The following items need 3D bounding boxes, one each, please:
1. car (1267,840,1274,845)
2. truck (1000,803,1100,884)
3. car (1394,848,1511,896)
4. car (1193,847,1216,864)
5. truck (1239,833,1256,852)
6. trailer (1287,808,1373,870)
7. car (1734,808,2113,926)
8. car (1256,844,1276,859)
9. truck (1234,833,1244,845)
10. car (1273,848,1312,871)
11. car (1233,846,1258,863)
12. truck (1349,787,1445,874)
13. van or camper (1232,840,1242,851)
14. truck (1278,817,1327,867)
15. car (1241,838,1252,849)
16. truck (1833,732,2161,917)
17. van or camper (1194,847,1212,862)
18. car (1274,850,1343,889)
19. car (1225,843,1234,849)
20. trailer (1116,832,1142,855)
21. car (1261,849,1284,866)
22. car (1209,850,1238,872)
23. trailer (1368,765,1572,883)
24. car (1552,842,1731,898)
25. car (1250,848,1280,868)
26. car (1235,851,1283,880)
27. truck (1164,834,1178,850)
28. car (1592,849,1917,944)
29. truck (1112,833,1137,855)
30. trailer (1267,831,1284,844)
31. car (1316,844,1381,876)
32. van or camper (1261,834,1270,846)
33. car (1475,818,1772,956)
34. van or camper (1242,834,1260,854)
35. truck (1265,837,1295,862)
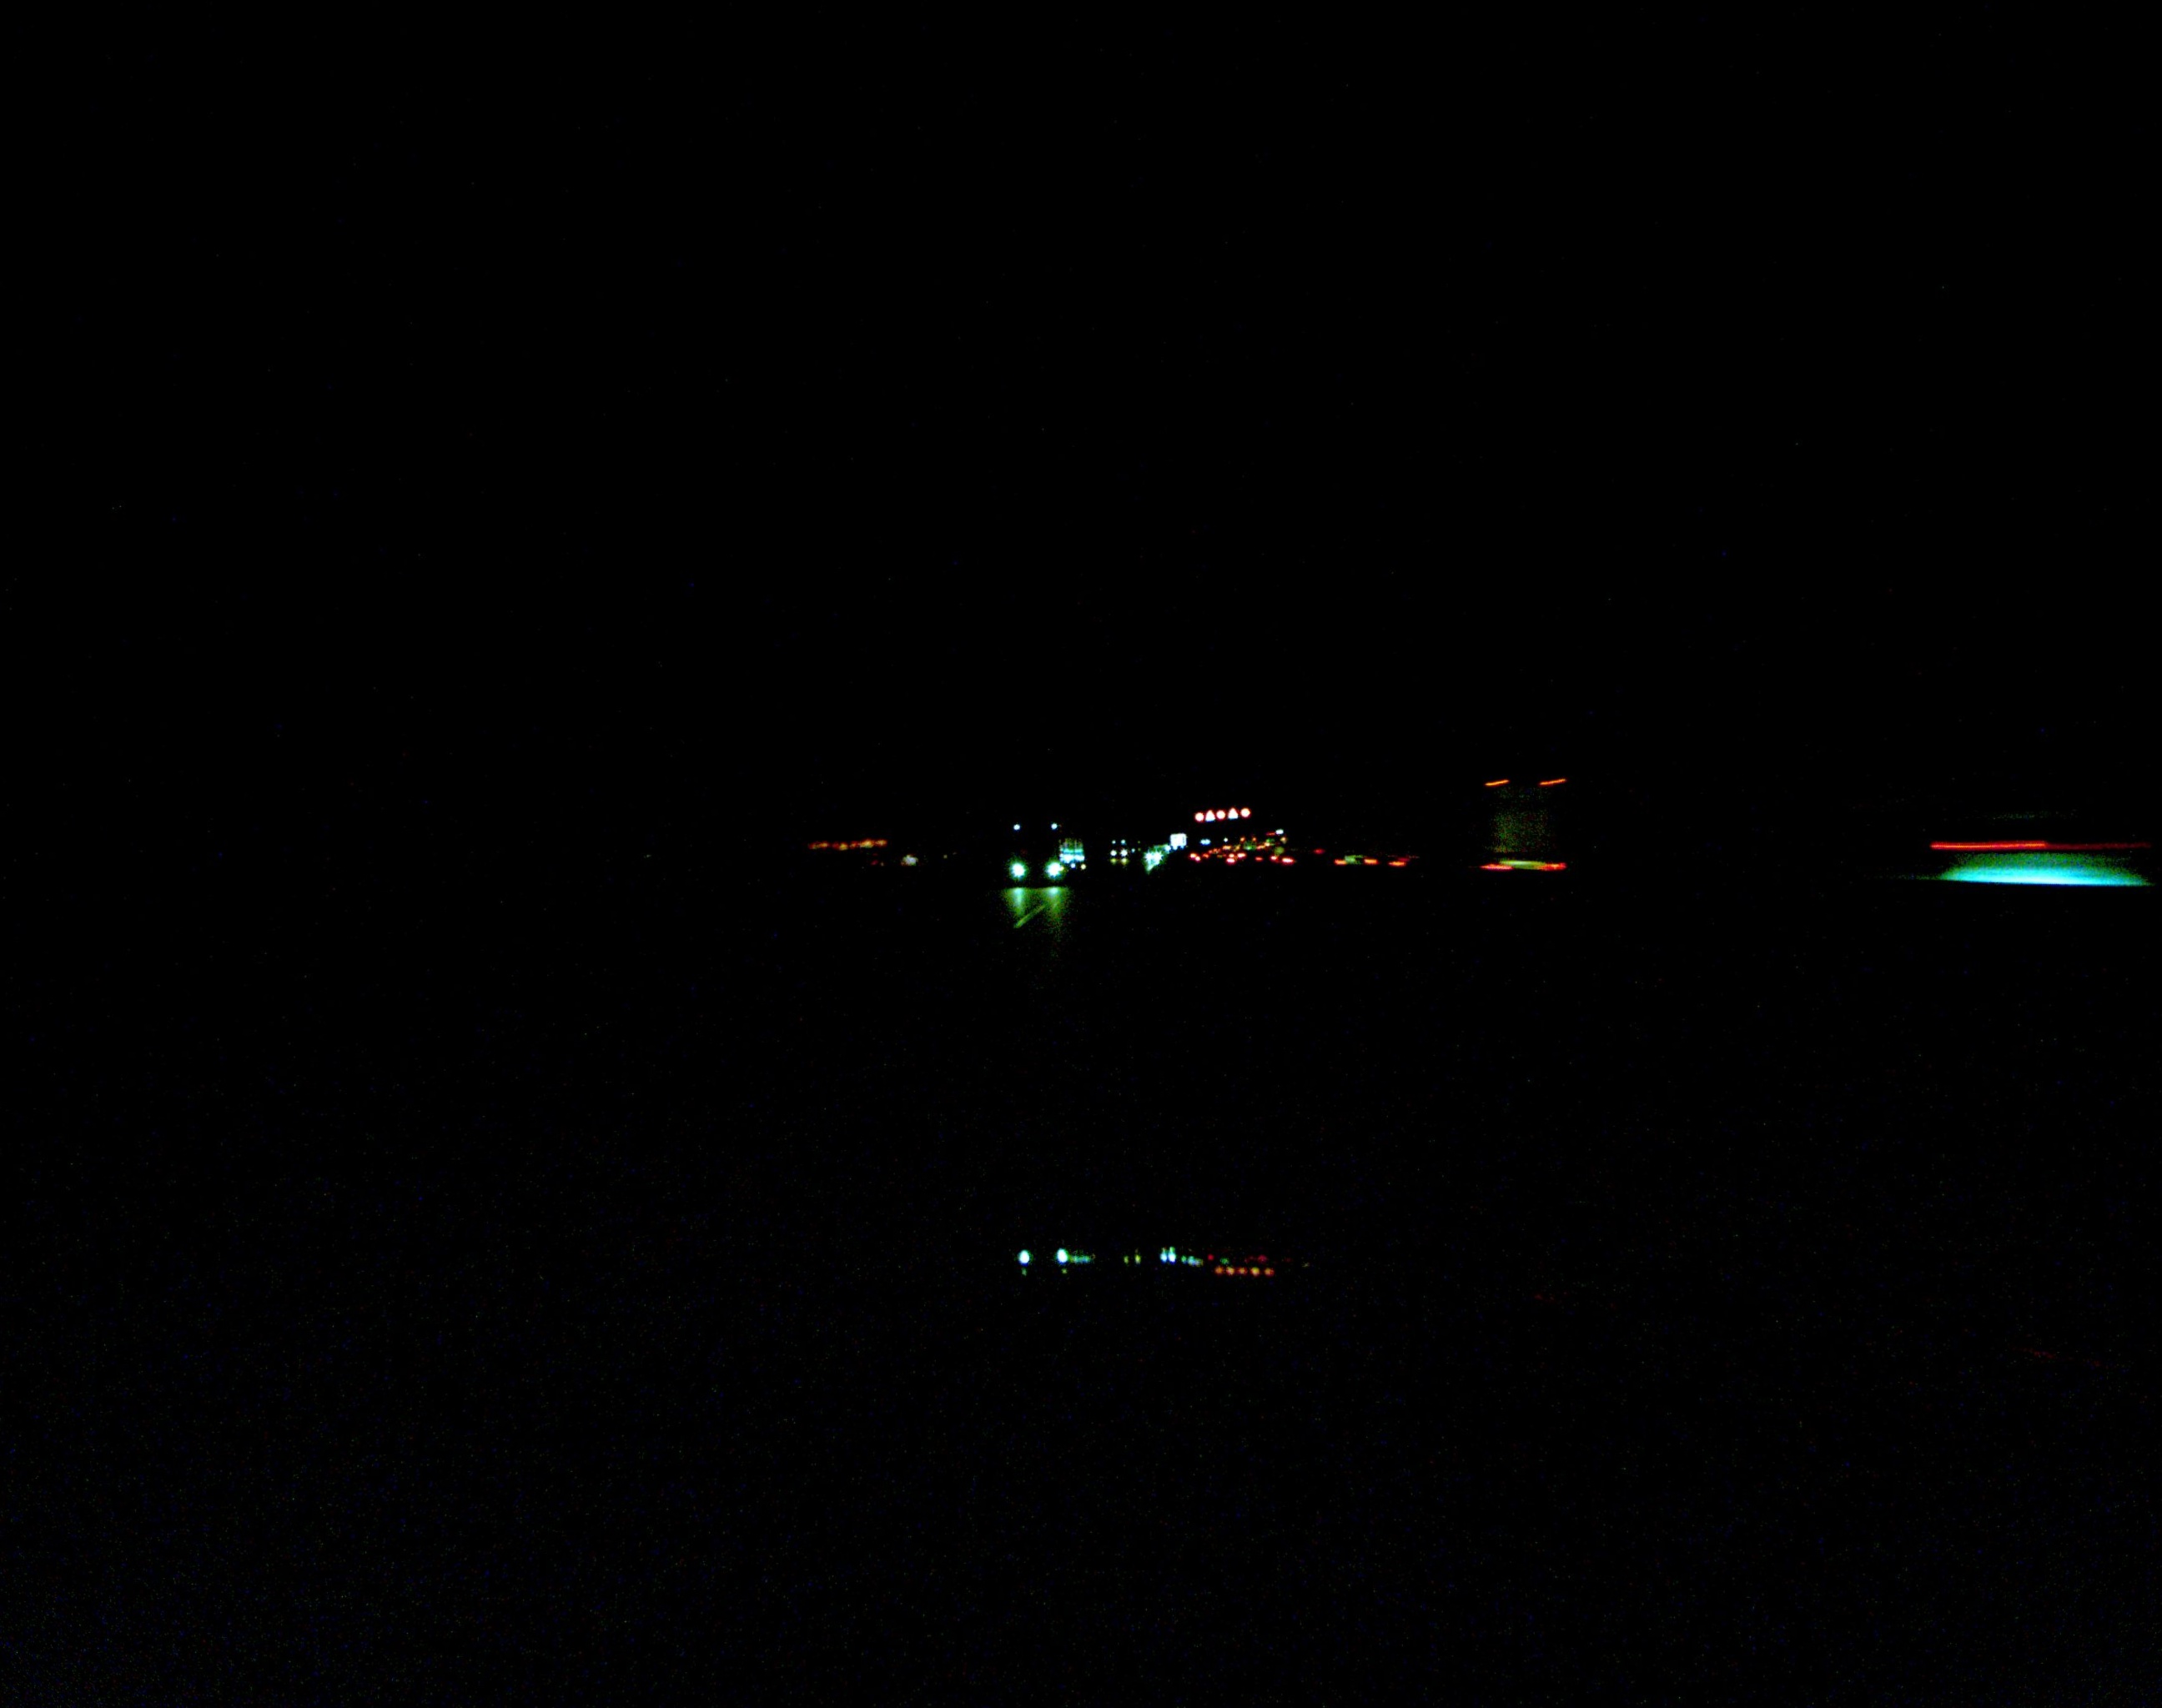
[{"bbox_3d":[60.100,-3.552,241.071,1.602,1.434,4.004,-1,2,19],"label":"car"},{"bbox_3d":[-1.408,-0.589,48.903,3.489,4.110,18.717,-2,0,6],"label":"truck"},{"bbox_3d":[12.946,0.570,26.880,1.908,1.483,4.868,-2,1,3],"label":"car"},{"bbox_3d":[11.591,0.089,71.421,1.907,1.483,4.870,-2,1,8],"label":"car"},{"bbox_3d":[30.041,-2.078,137.396,2.380,3.242,7.726,-1,2,8],"label":"truck"},{"bbox_3d":[19.063,-1.010,59.376,2.882,4.159,14.527,-2,0,4],"label":"trailer"},{"bbox_3d":[16.021,0.212,15.009,1.908,1.875,5.020,-2,0,0],"label":"car"},{"bbox_3d":[24.312,-0.349,99.870,1.930,1.644,4.737,-2,2,6],"label":"car"},{"bbox_3d":[49.857,-4.712,239.685,2.658,3.571,8.556,-3,2,15],"label":"truck"},{"bbox_3d":[14.816,0.360,53.497,1.907,1.483,5.262,-2,1,8],"label":"car"},{"bbox_3d":[15.810,0.035,73.284,1.907,1.483,4.939,-2,1,8],"label":"car"},{"bbox_3d":[17.498,-1.240,42.496,2.622,4.244,5.958,6,1,3],"label":"truck"},{"bbox_3d":[38.818,-2.136,188.868,2.258,2.580,6.691,0,2,13],"label":"van or camper"},{"bbox_3d":[19.778,-1.017,68.249,2.871,4.186,6.107,-2,1,4],"label":"truck"},{"bbox_3d":[34.110,-2.254,156.998,2.134,2.254,4.567,-1,1,11],"label":"car"},{"bbox_3d":[20.001,-0.547,15.010,2.500,3.199,7.913,-1,0,1],"label":"truck"},{"bbox_3d":[13.479,0.023,84.043,1.742,1.457,4.870,-7,0,8],"label":"van or camper"},{"bbox_3d":[9.508,0.604,32.115,1.630,1.483,4.868,-2,0,3],"label":"car"},{"bbox_3d":[41.095,-2.241,210.345,1.836,1.443,4.510,-2,0,16],"label":"car"},{"bbox_3d":[9.826,-2.134,153.031,2.879,3.910,12.893,-3,3,13],"label":"trailer"},{"bbox_3d":[21.157,0.375,84.106,1.713,1.691,4.766,-1,2,4],"label":"car"},{"bbox_3d":[10.731,0.479,57.508,1.907,1.483,4.870,-2,1,8],"label":"car"},{"bbox_3d":[17.506,-1.197,36.122,2.846,4.438,14.524,-1,0,3],"label":"trailer"},{"bbox_3d":[16.738,0.429,23.090,1.908,1.483,4.867,-2,0,1],"label":"car"},{"bbox_3d":[15.286,0.315,63.246,1.907,1.483,4.870,-2,1,8],"label":"car"},{"bbox_3d":[10.160,0.630,43.668,1.908,1.483,4.868,-2,1,4],"label":"car"},{"bbox_3d":[23.337,-3.185,197.208,2.897,3.950,4.003,-3,2,14],"label":"truck"},{"bbox_3d":[12.663,0.669,14.860,1.909,1.483,4.866,-2,1,-3],"label":"car"},{"bbox_3d":[8.456,-1.994,147.496,2.871,3.819,8.059,-3,3,17],"label":"truck"},{"bbox_3d":[65.150,-5.613,254.272,3.438,4.218,12.848,0,2,23],"label":"trailer"},{"bbox_3d":[13.482,0.248,38.584,1.908,1.483,4.868,-2,1,4],"label":"car"},{"bbox_3d":[54.849,-4.266,226.041,2.272,3.360,5.699,-1,2,15],"label":"van or camper"},{"bbox_3d":[8.952,0.460,13.206,1.880,1.911,4.868,-2,0,4],"label":"car"},{"bbox_3d":[26.354,-1.500,117.912,2.226,2.986,7.128,-2,0,10],"label":"van or camper"},{"bbox_3d":[20.644,-0.484,79.055,1.998,2.444,5.051,-2,0,3],"label":"truck"}]
